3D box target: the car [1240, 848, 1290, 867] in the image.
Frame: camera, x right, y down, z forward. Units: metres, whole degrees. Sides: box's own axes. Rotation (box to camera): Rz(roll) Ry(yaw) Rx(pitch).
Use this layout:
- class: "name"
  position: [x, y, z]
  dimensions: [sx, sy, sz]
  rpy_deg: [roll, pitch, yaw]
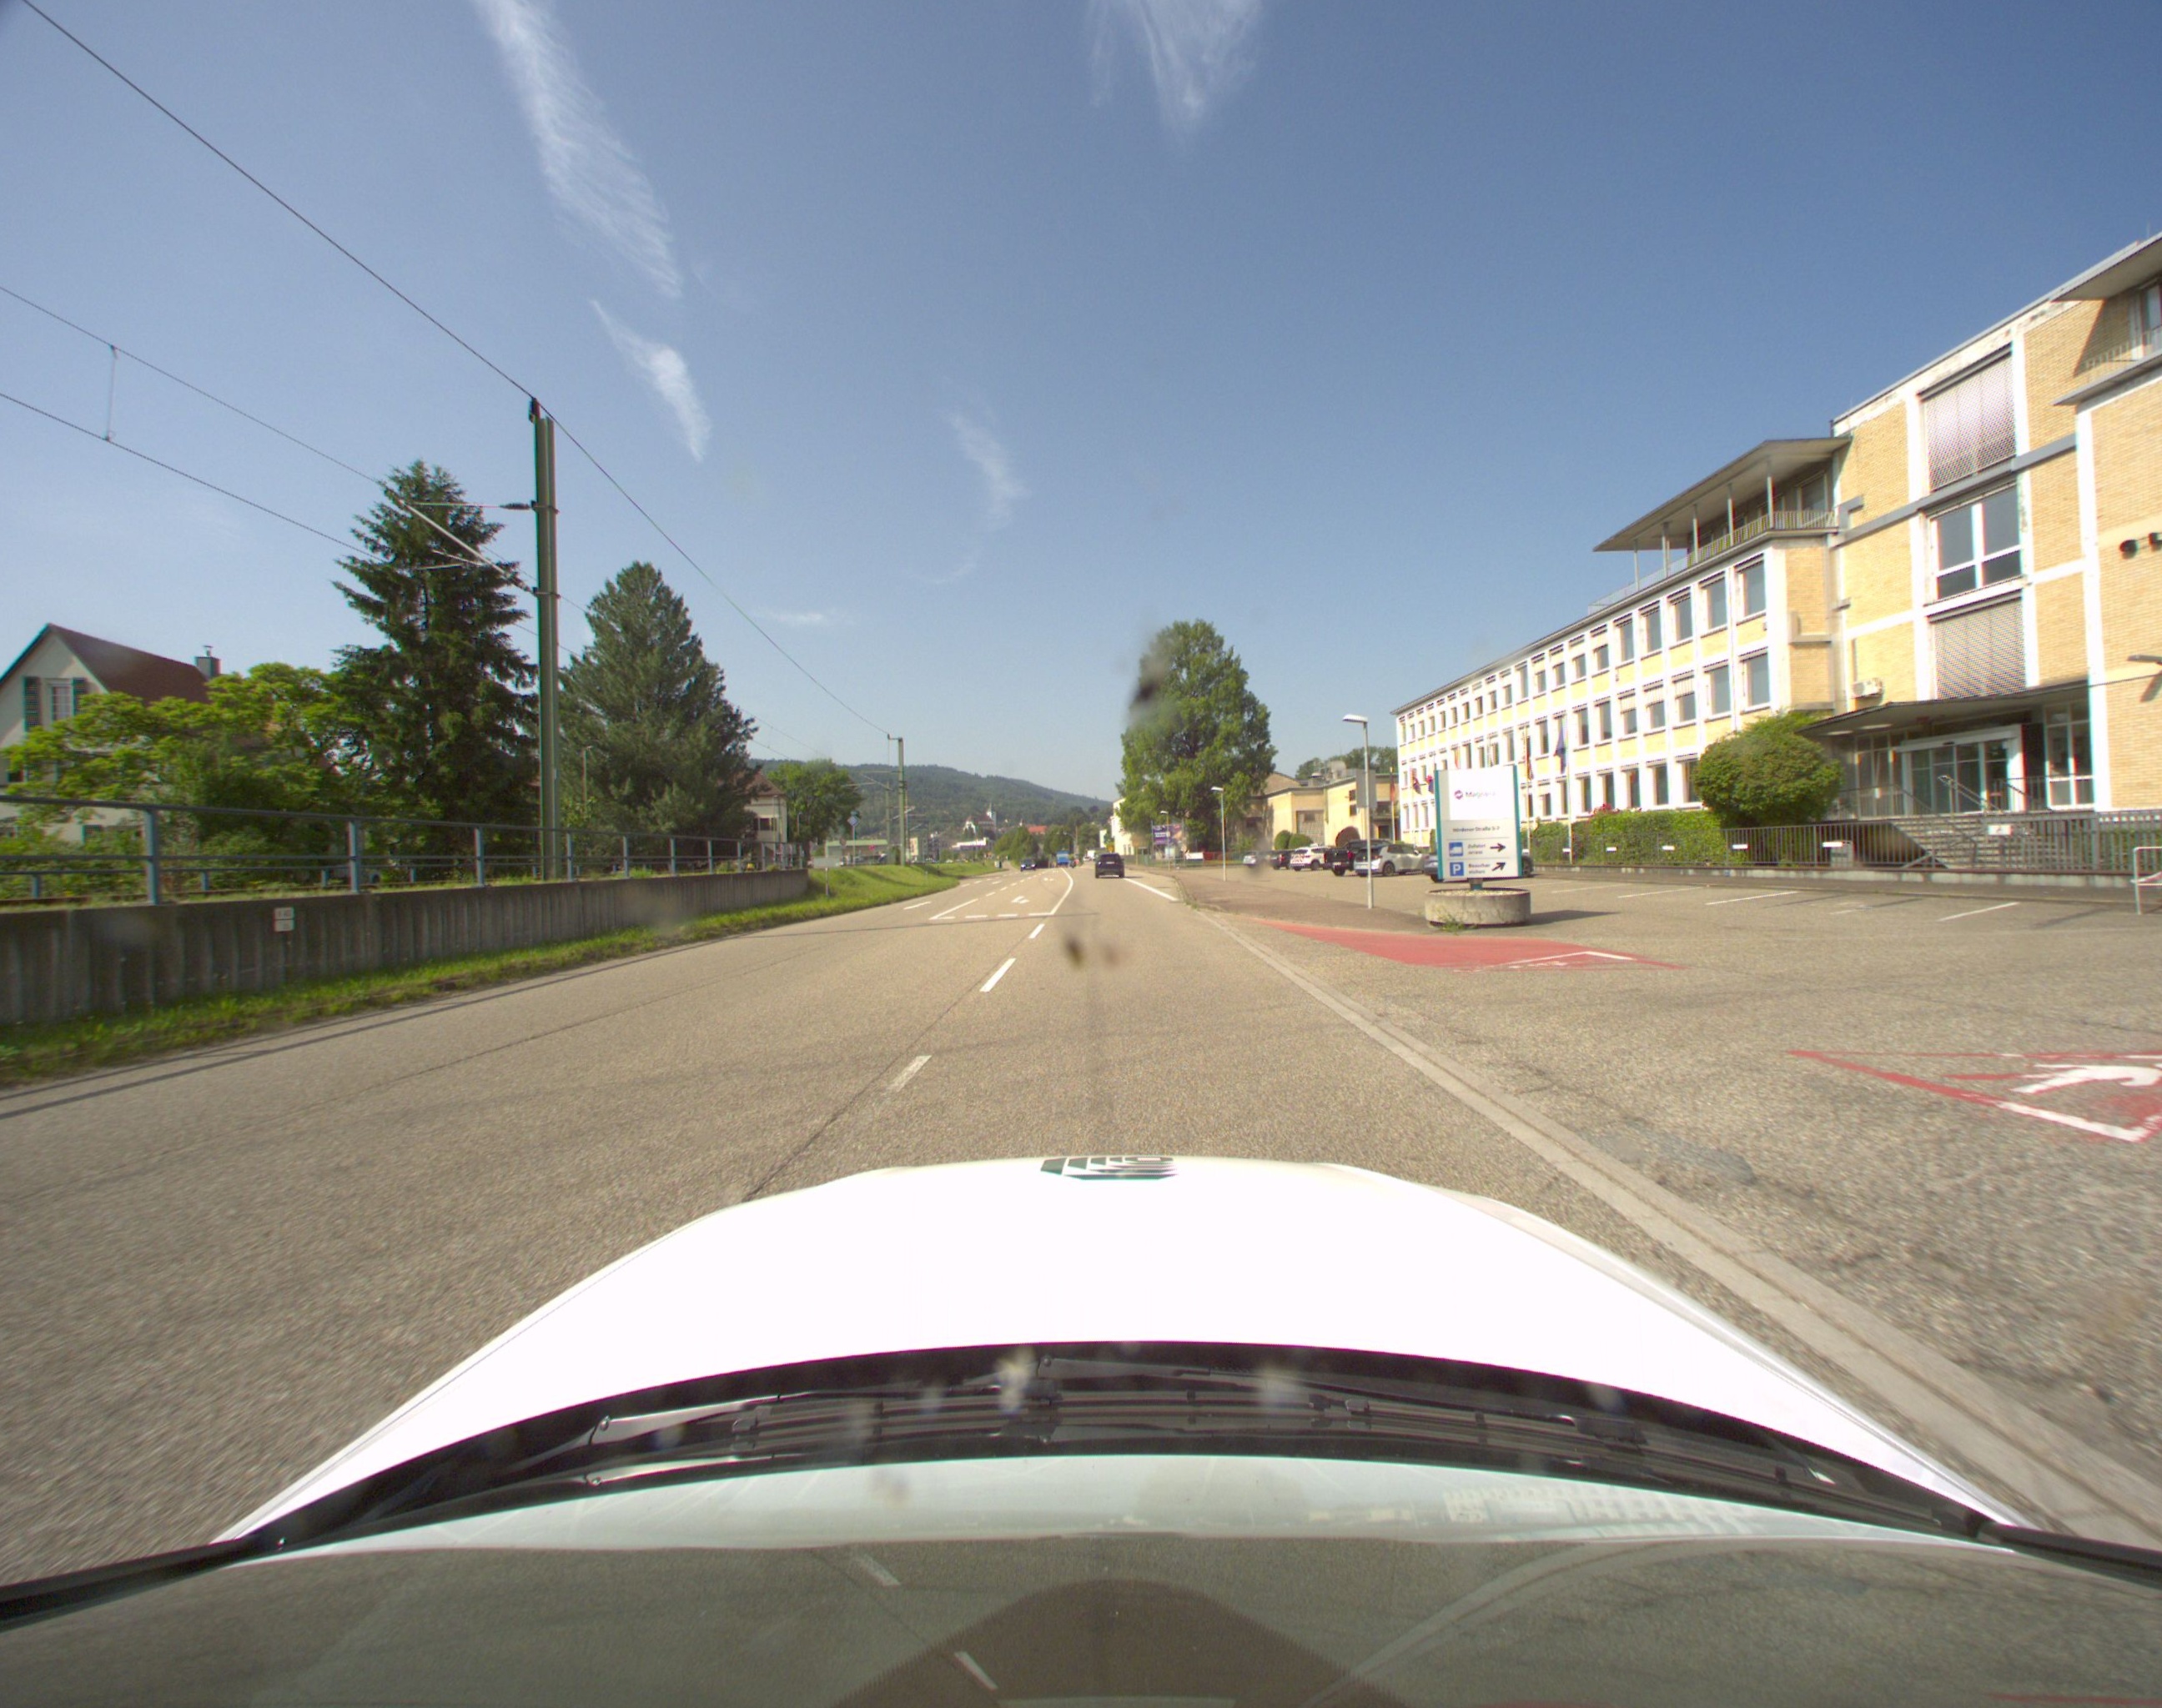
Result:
- class: "car"
  position: [15.358, 0.297, 67.771]
  dimensions: [4.013, 1.401, 1.648]
  rpy_deg: [-2, 0, -31]

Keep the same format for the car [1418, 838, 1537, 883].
- class: "car"
  position: [14.990, 0.221, 30.752]
  dimensions: [4.323, 1.505, 1.869]
  rpy_deg: [-2, 0, -29]

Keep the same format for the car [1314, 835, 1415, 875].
- class: "car"
  position: [14.656, 0.051, 42.058]
  dimensions: [5.050, 1.832, 1.964]
  rpy_deg: [-2, 0, -29]

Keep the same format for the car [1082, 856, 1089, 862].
- class: "car"
  position: [1.201, 1.444, 220.794]
  dimensions: [1.760, 1.486, 4.001]
  rpy_deg: [-1, -1, 2]

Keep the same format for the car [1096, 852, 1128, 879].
- class: "car"
  position: [1.982, 0.731, 53.480]
  dimensions: [1.913, 1.640, 3.999]
  rpy_deg: [-2, 0, 0]

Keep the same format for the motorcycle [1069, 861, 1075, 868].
- class: "motorcycle"
  position: [-1.103, 1.268, 98.299]
  dimensions: [0.604, 0.753, 1.414]
  rpy_deg: [-2, 0, 0]

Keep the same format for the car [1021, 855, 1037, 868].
- class: "car"
  position: [-5.964, 0.829, 93.727]
  dimensions: [1.751, 1.429, 3.997]
  rpy_deg: [-2, 0, -2]

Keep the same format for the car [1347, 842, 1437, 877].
- class: "car"
  position: [14.990, 0.248, 39.276]
  dimensions: [4.011, 1.505, 1.869]
  rpy_deg: [-2, 0, -29]

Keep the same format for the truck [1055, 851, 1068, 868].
- class: "truck"
  position: [-3.565, 0.901, 149.628]
  dimensions: [2.307, 2.970, 5.961]
  rpy_deg: [-2, 0, -2]

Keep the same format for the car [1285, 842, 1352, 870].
- class: "car"
  position: [15.683, 0.131, 53.790]
  dimensions: [4.185, 1.672, 1.852]
  rpy_deg: [-2, 0, -29]

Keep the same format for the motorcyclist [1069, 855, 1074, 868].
- class: "motorcyclist"
  position: [-1.150, 0.873, 98.305]
  dimensions: [0.604, 1.520, 0.863]
  rpy_deg: [-2, 0, 0]

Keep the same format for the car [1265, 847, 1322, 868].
- class: "car"
  position: [15.523, 0.278, 59.474]
  dimensions: [4.013, 1.401, 1.648]
  rpy_deg: [-2, 0, -31]
